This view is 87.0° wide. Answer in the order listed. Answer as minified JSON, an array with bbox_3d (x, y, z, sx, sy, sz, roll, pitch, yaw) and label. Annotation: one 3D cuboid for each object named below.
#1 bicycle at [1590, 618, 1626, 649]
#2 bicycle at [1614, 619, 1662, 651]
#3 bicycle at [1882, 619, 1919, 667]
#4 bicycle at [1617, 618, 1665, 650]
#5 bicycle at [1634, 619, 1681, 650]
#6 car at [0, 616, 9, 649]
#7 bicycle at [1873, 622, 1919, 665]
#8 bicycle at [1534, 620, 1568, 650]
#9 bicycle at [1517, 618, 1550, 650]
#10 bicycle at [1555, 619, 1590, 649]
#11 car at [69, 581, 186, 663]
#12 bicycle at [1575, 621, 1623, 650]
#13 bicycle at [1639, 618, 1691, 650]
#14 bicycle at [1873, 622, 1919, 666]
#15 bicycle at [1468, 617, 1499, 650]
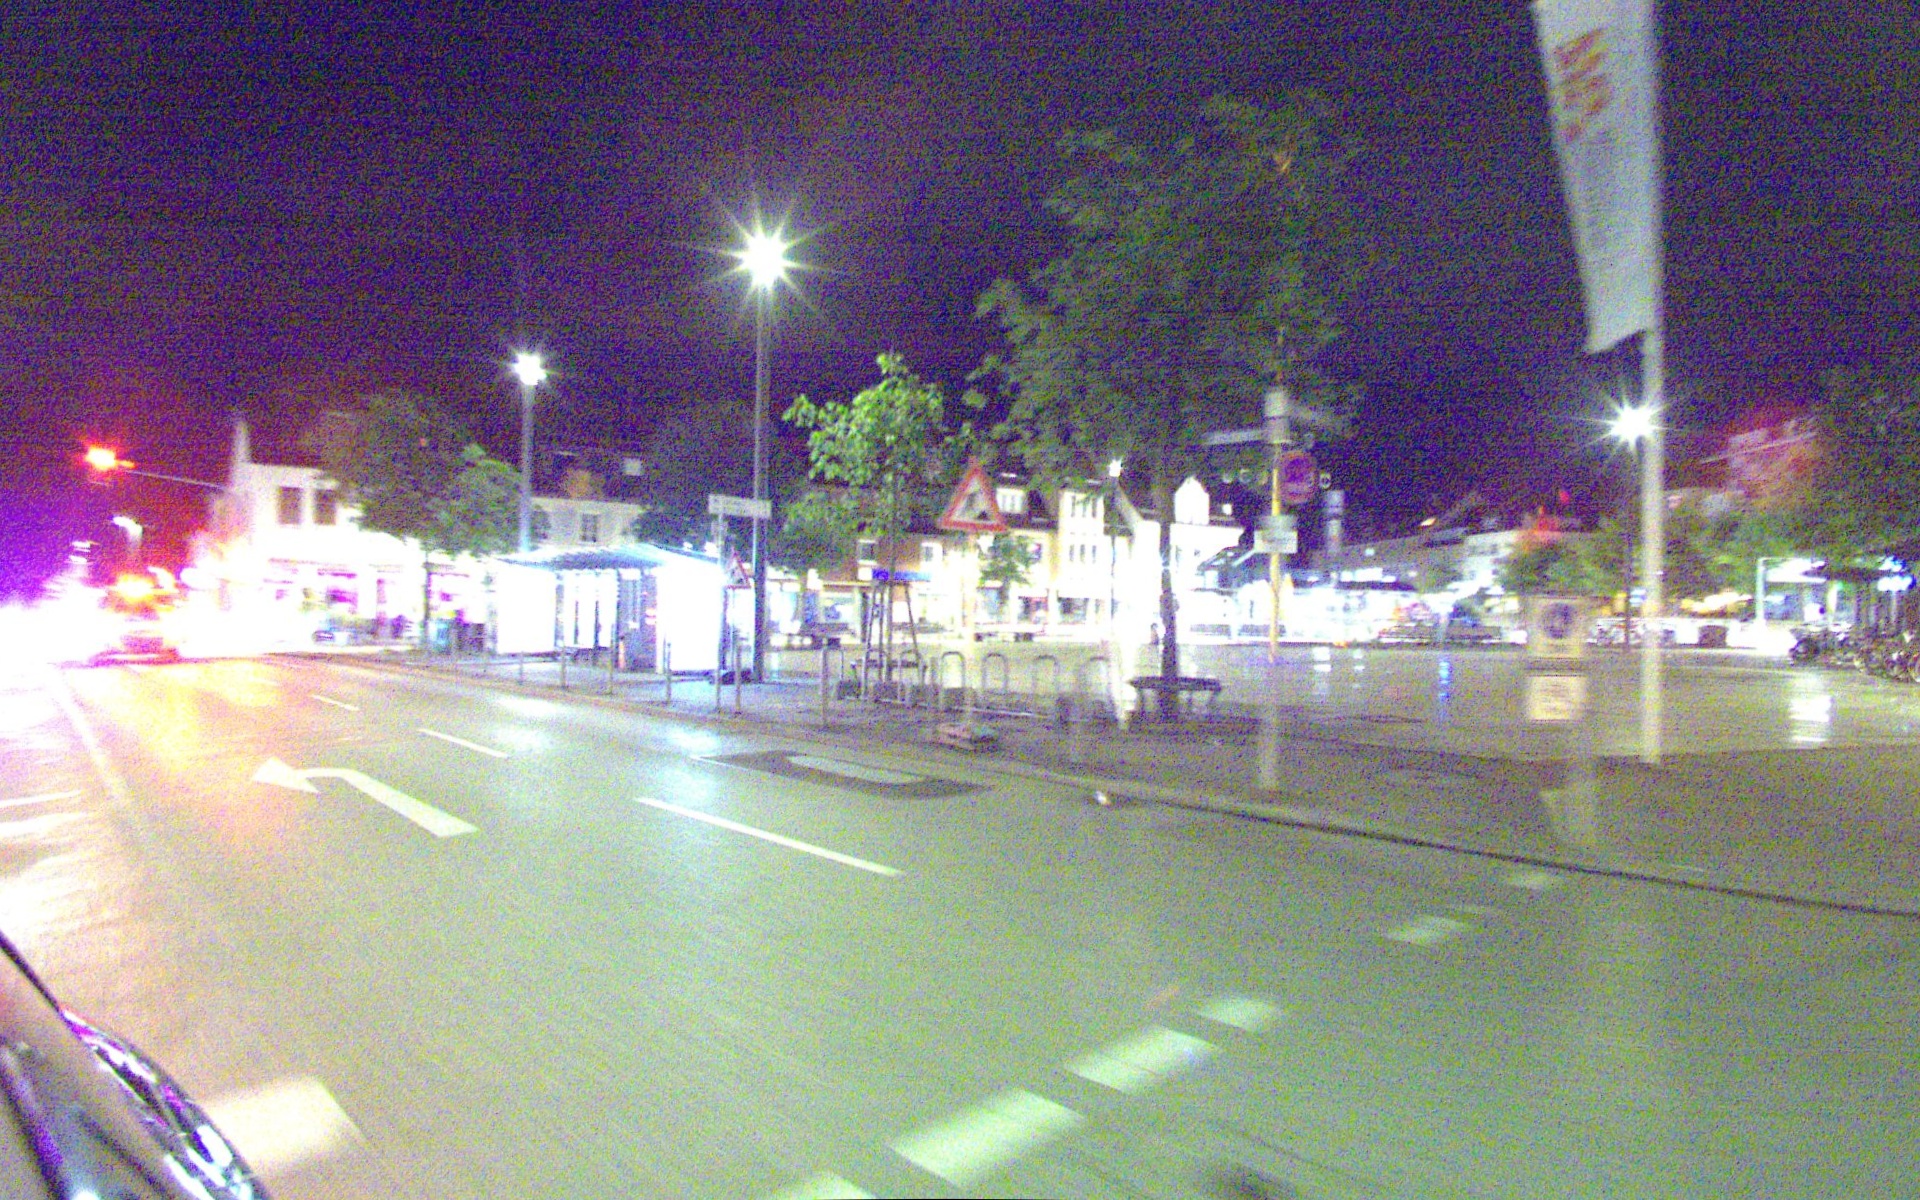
[{"bbox_3d":[25.868,1.332,40.421,0.603,1.174,1.740,-1,0,12],"label":"bicycle"},{"bbox_3d":[26.249,1.339,39.204,0.600,1.174,1.748,-1,0,-3],"label":"bicycle"},{"bbox_3d":[23.719,1.051,24.634,1.768,1.173,0.663,0,-1,30],"label":"bicycle"},{"bbox_3d":[26.824,1.329,39.887,0.600,1.174,1.748,-1,0,-3],"label":"bicycle"},{"bbox_3d":[27.317,1.328,39.657,0.537,1.163,1.748,-1,0,-3],"label":"bicycle"},{"bbox_3d":[-47.724,1.574,49.146,1.969,1.583,4.007,-1,0,-40],"label":"car"},{"bbox_3d":[25.412,1.169,26.873,1.615,1.114,0.663,1,-1,30],"label":"bicycle"},{"bbox_3d":[23.231,1.366,39.805,0.602,1.109,1.740,-1,0,12],"label":"bicycle"},{"bbox_3d":[22.583,1.334,39.871,0.602,1.174,1.740,-1,0,12],"label":"bicycle"},{"bbox_3d":[24.234,1.345,40.072,0.602,1.133,1.740,-1,0,12],"label":"bicycle"},{"bbox_3d":[-21.667,0.528,26.267,4.420,1.951,1.932,-1,0,45],"label":"car"},{"bbox_3d":[25.025,1.386,39.659,0.599,1.078,1.749,-1,0,-6],"label":"bicycle"},{"bbox_3d":[27.988,1.340,40.203,0.750,1.171,1.748,-1,0,-3],"label":"bicycle"},{"bbox_3d":[24.900,1.150,26.310,1.615,1.114,0.663,0,-2,30],"label":"bicycle"},{"bbox_3d":[20.671,1.307,39.984,0.602,1.228,1.740,-1,0,12],"label":"bicycle"}]
